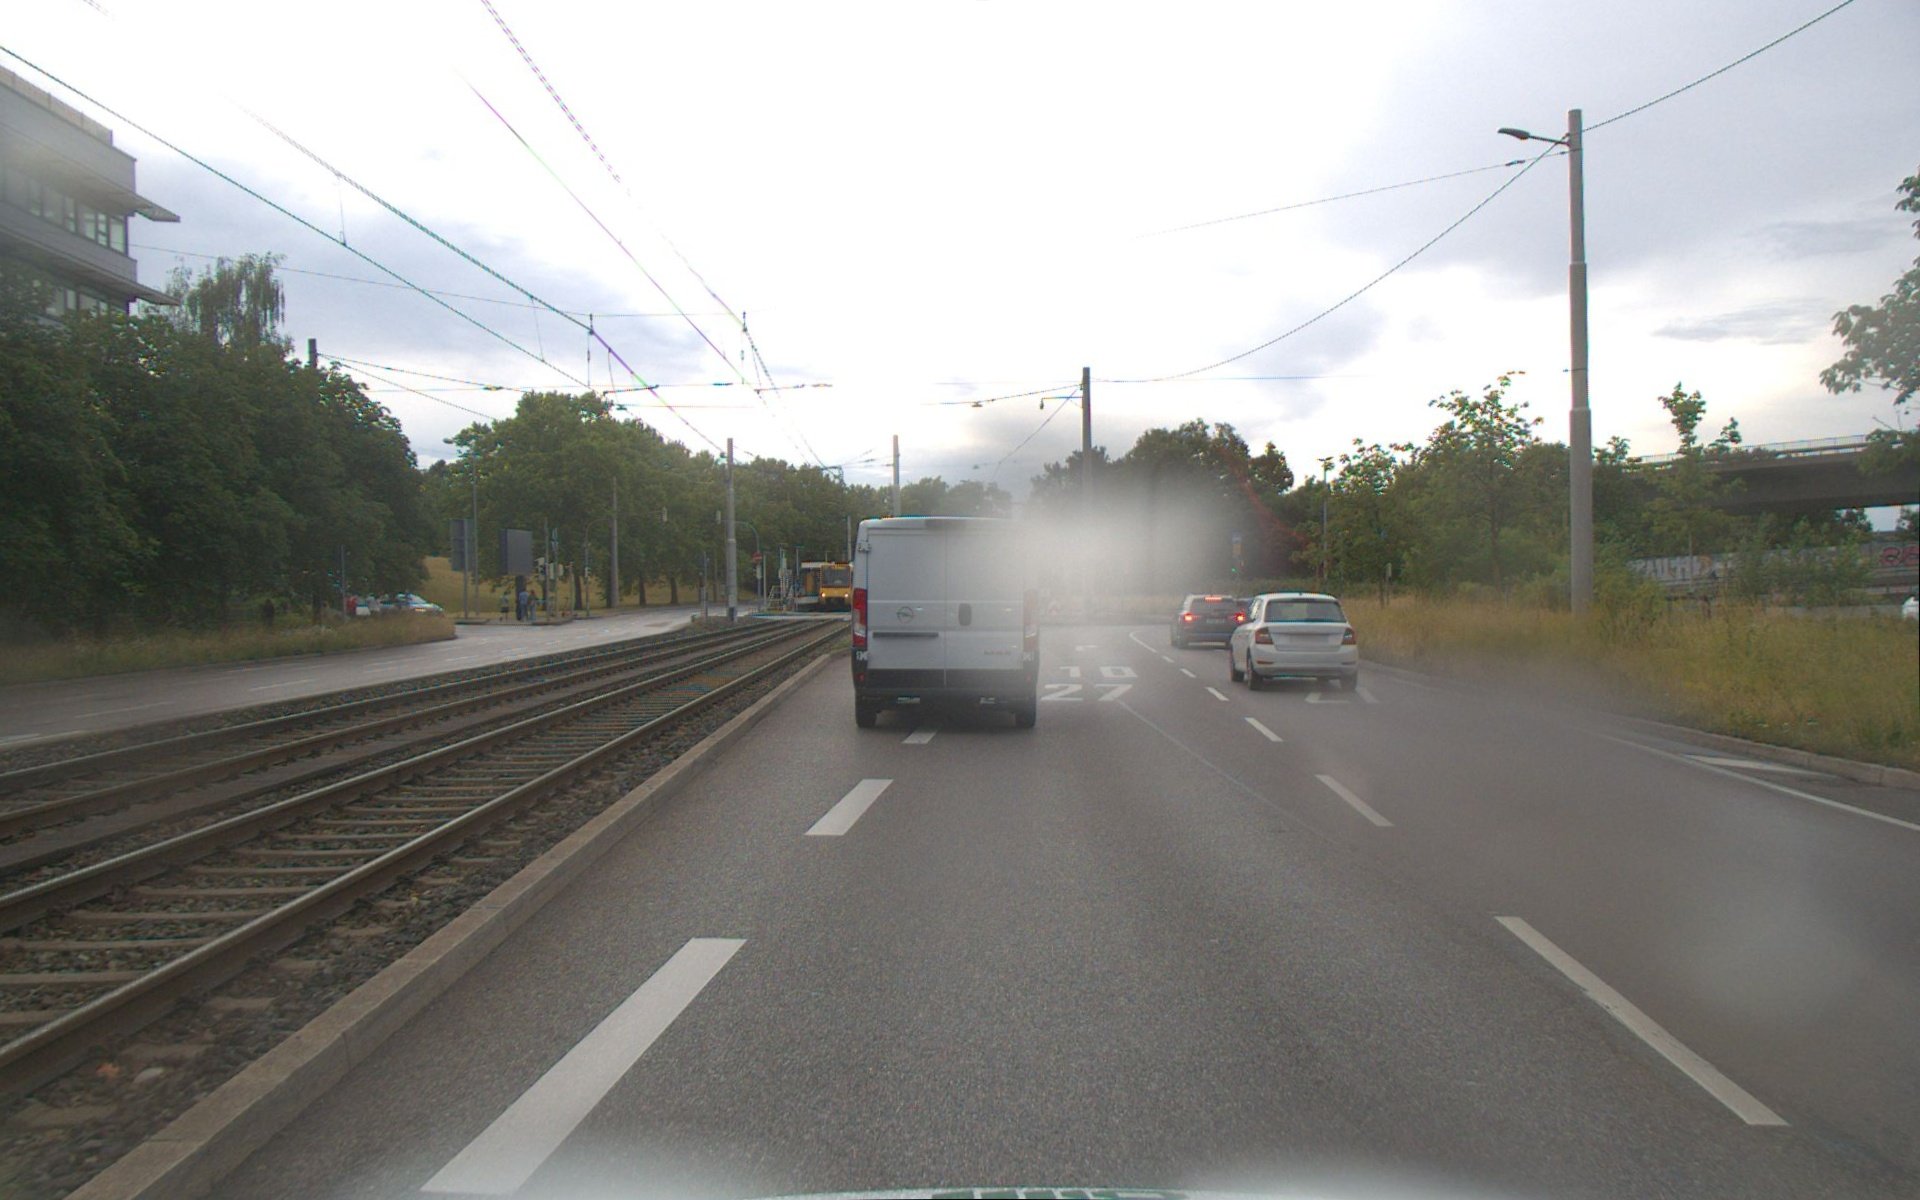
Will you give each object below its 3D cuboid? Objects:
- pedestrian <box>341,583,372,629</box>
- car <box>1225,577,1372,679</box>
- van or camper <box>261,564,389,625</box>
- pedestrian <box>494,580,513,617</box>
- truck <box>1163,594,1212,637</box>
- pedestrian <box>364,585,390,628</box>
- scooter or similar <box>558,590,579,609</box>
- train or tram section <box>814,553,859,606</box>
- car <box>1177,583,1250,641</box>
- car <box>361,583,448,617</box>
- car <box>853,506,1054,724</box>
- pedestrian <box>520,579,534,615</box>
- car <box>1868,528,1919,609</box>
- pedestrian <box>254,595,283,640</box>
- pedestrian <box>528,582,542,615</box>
[{"bbox_3d":[-27.108,0.259,74.275,0.868,2.049,0.946,-1,0,14],"label":"pedestrian"},{"bbox_3d":[5.317,0.388,26.372,1.710,1.483,3.672,0,1,2],"label":"car"},{"bbox_3d":[-32.899,-0.298,85.602,7.221,3.018,2.484,0,1,34],"label":"van or camper"},{"bbox_3d":[-25.646,-0.097,92.975,0.870,2.049,0.865,-1,0,-6],"label":"pedestrian"},{"bbox_3d":[10.484,0.685,76.034,1.951,1.822,4.418,-1,1,11],"label":"truck"},{"bbox_3d":[-26.279,0.281,74.584,0.620,1.900,0.955,-1,1,15],"label":"pedestrian"},{"bbox_3d":[-25.026,-0.019,105.764,0.374,1.182,1.271,0,1,44],"label":"scooter or similar"},{"bbox_3d":[-9.741,-1.612,131.068,2.868,4.001,7.006,1,0,1],"label":"train or tram section"},{"bbox_3d":[6.772,0.299,44.514,1.751,1.474,4.003,0,0,6],"label":"car"},{"bbox_3d":[-29.678,-0.013,88.381,4.533,1.762,1.995,0,1,33],"label":"car"},{"bbox_3d":[-0.104,0.107,19.630,2.048,2.234,5.060,1,1,-1],"label":"car"},{"bbox_3d":[-24.046,-0.191,91.818,0.485,1.989,0.722,1,0,3],"label":"pedestrian"},{"bbox_3d":[25.537,-0.805,41.919,2.003,2.049,5.087,0,1,-4],"label":"car"},{"bbox_3d":[-27.701,0.688,66.267,0.710,1.786,0.877,1,0,1],"label":"pedestrian"},{"bbox_3d":[-23.550,-0.095,91.669,0.495,1.818,0.832,1,0,4],"label":"pedestrian"}]
